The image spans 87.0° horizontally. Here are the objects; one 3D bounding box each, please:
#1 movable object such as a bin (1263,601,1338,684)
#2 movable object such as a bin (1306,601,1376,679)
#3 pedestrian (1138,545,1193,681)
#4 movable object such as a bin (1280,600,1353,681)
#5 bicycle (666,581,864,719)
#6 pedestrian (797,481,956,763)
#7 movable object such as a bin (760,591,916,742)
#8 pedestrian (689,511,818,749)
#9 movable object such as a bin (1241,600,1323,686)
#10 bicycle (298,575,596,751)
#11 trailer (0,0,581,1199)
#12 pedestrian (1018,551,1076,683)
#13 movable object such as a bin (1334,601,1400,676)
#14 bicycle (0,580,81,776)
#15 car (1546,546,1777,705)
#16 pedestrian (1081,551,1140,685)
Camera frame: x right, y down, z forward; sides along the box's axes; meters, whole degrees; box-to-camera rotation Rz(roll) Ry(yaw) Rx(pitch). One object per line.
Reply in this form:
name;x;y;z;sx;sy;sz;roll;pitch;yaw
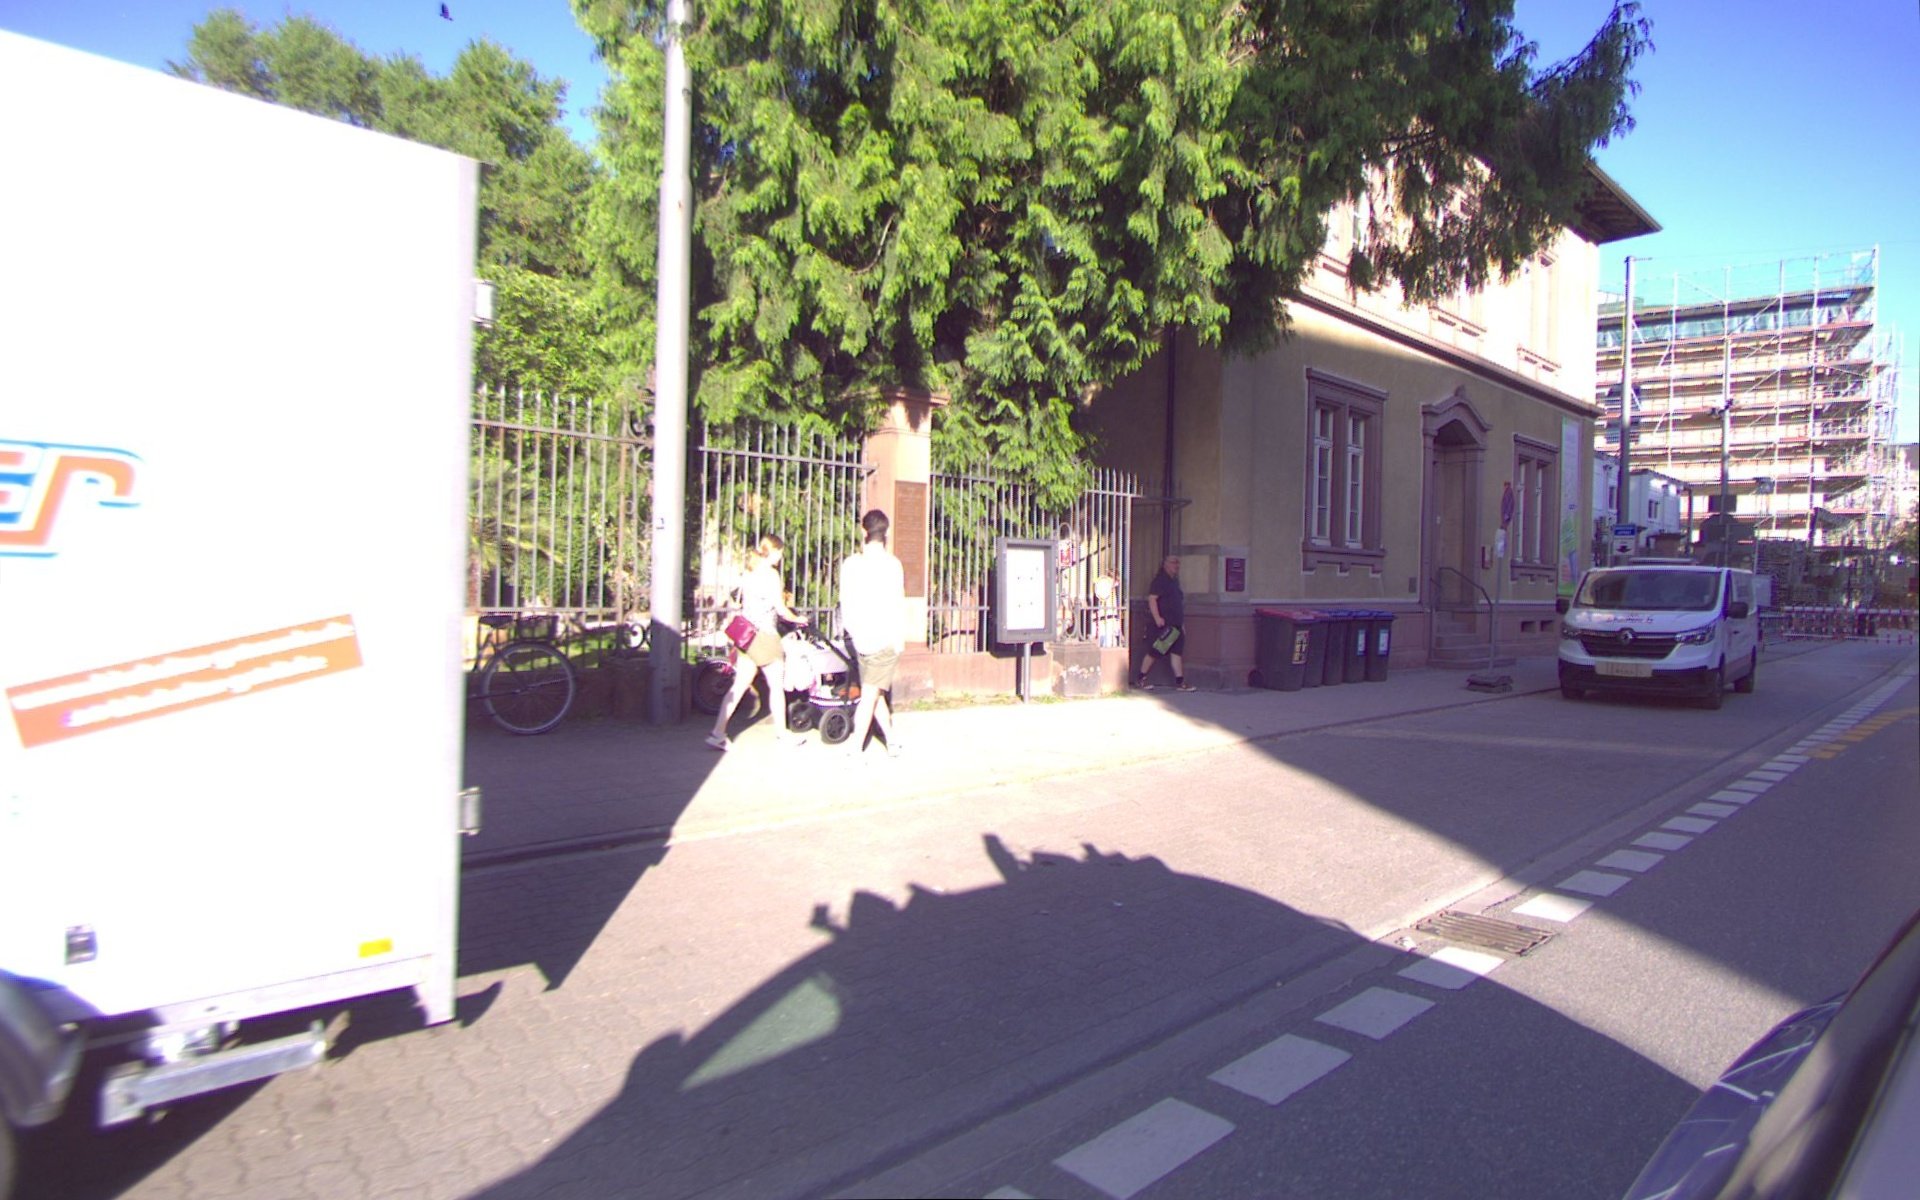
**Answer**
movable object such as a bin;4.774;0.579;14.218;0.561;1.086;0.795;0;2;-39
movable object such as a bin;5.680;0.573;15.115;0.525;1.086;0.795;0;2;-39
pedestrian;2.725;0.163;13.377;0.632;1.739;0.698;1;0;15
movable object such as a bin;5.166;0.569;14.676;0.561;1.086;0.795;0;2;-39
bicycle;-1.780;0.427;9.424;1.793;1.170;0.419;0;3;-38
pedestrian;-0.610;0.132;7.457;0.714;1.918;0.877;3;2;40
movable object such as a bin;-1.015;0.515;8.435;1.033;1.131;0.712;1;3;-43
pedestrian;-1.595;0.205;7.795;0.681;1.722;0.683;1;2;-41
movable object such as a bin;4.369;0.562;13.752;0.561;1.086;0.870;0;2;-39
bicycle;-3.668;0.403;7.371;1.894;1.144;0.396;0;1;-41
trailer;-3.344;0.013;1.976;4.412;2.559;2.085;0;3;-40
pedestrian;1.190;0.215;13.860;0.580;1.751;0.507;0;1;-43
movable object such as a bin;6.233;0.572;15.513;0.552;1.086;0.732;0;2;-39
bicycle;-5.954;0.450;5.687;1.503;1.119;0.275;0;3;-36
car;10.658;0.271;15.170;2.015;1.970;5.395;0;1;44
pedestrian;2.021;0.225;13.616;0.580;1.751;0.507;0;1;-43
